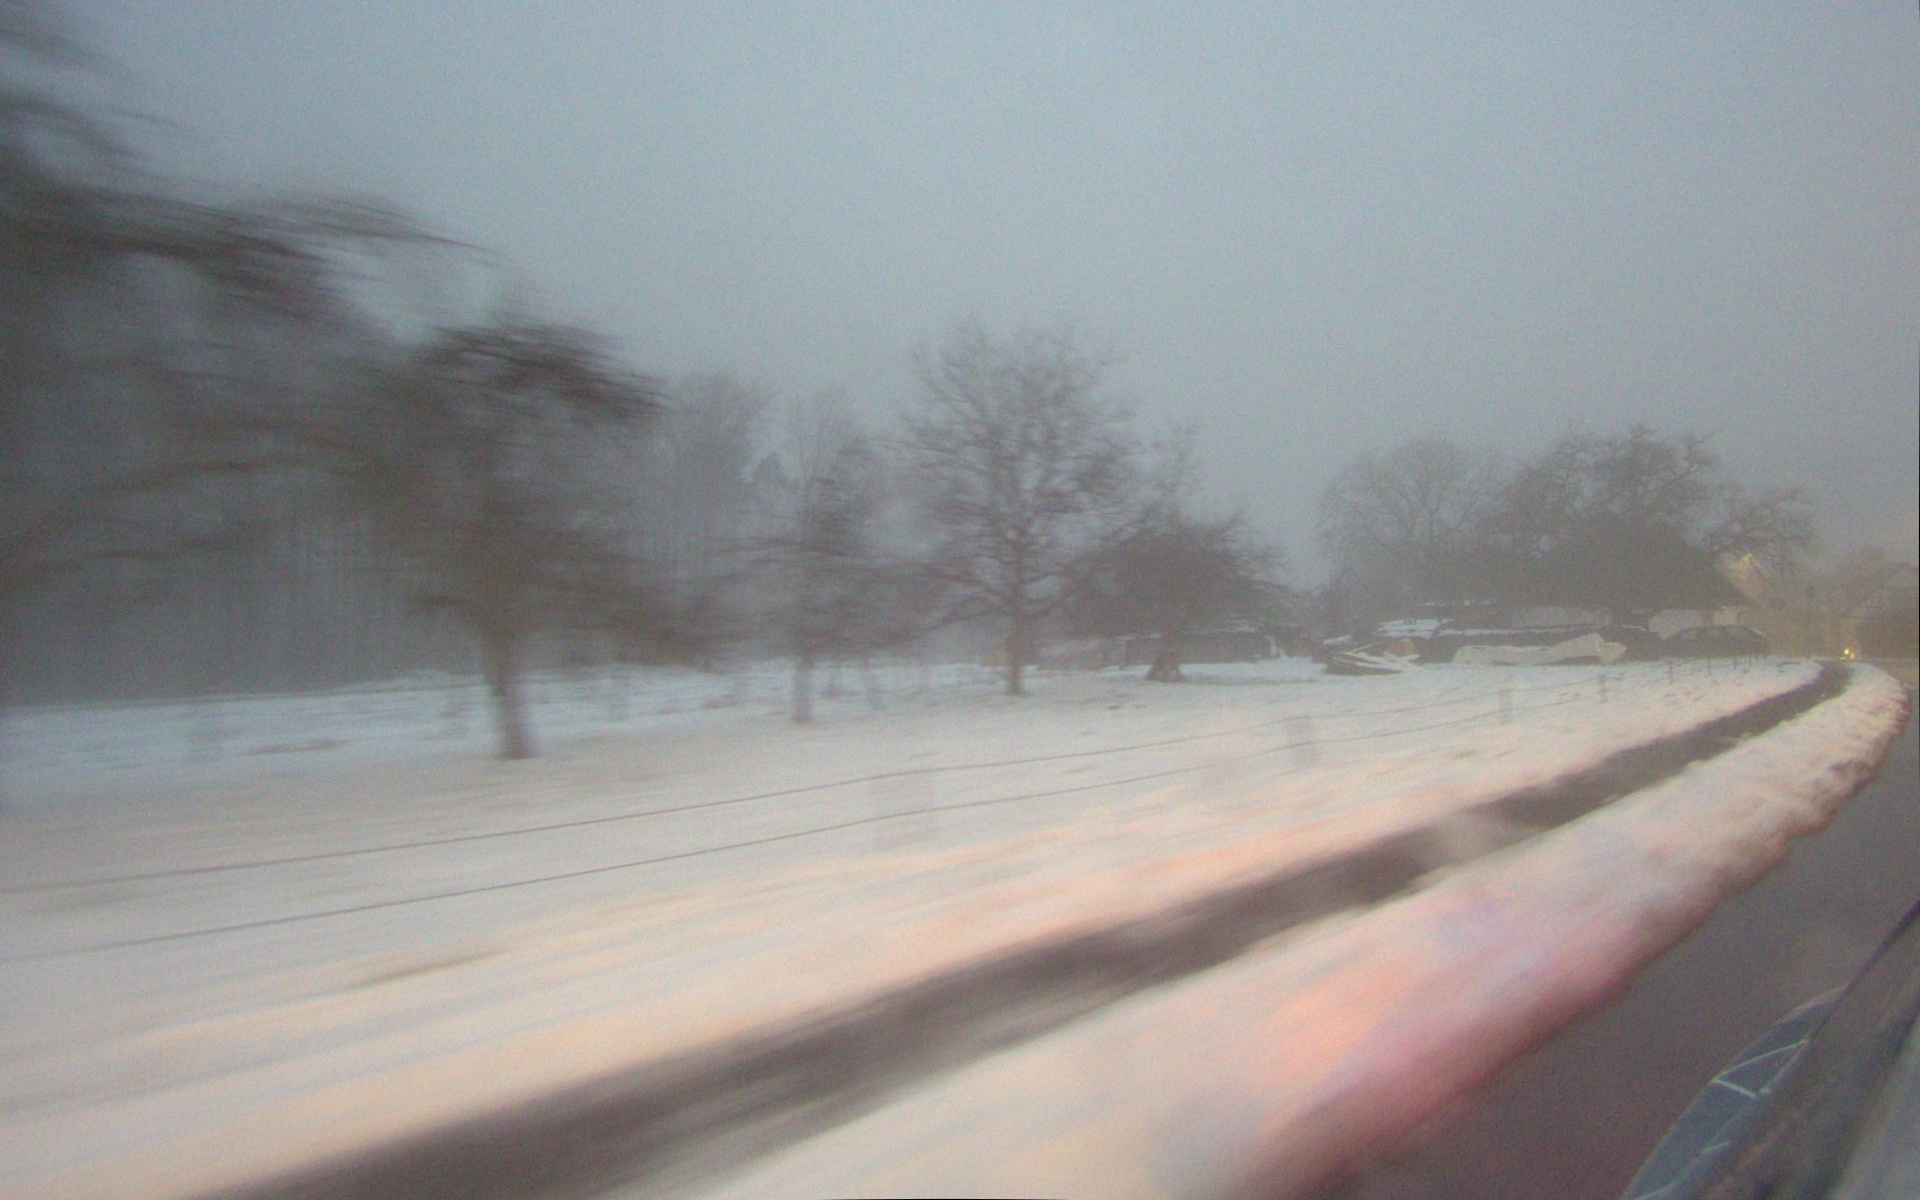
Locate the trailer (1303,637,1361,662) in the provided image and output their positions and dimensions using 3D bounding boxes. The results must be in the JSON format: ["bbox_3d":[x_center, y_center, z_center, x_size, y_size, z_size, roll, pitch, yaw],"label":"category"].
[{"bbox_3d":[16.990,2.229,46.117,1.834,0.958,3.621,2,-1,31],"label":"trailer"}]

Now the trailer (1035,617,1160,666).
[{"bbox_3d":[5.696,1.736,42.290,4.727,1.968,2.194,-2,-3,36],"label":"trailer"}]

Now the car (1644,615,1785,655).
[{"bbox_3d":[30.871,1.452,41.481,4.443,1.400,2.005,-5,-5,41],"label":"car"}]
